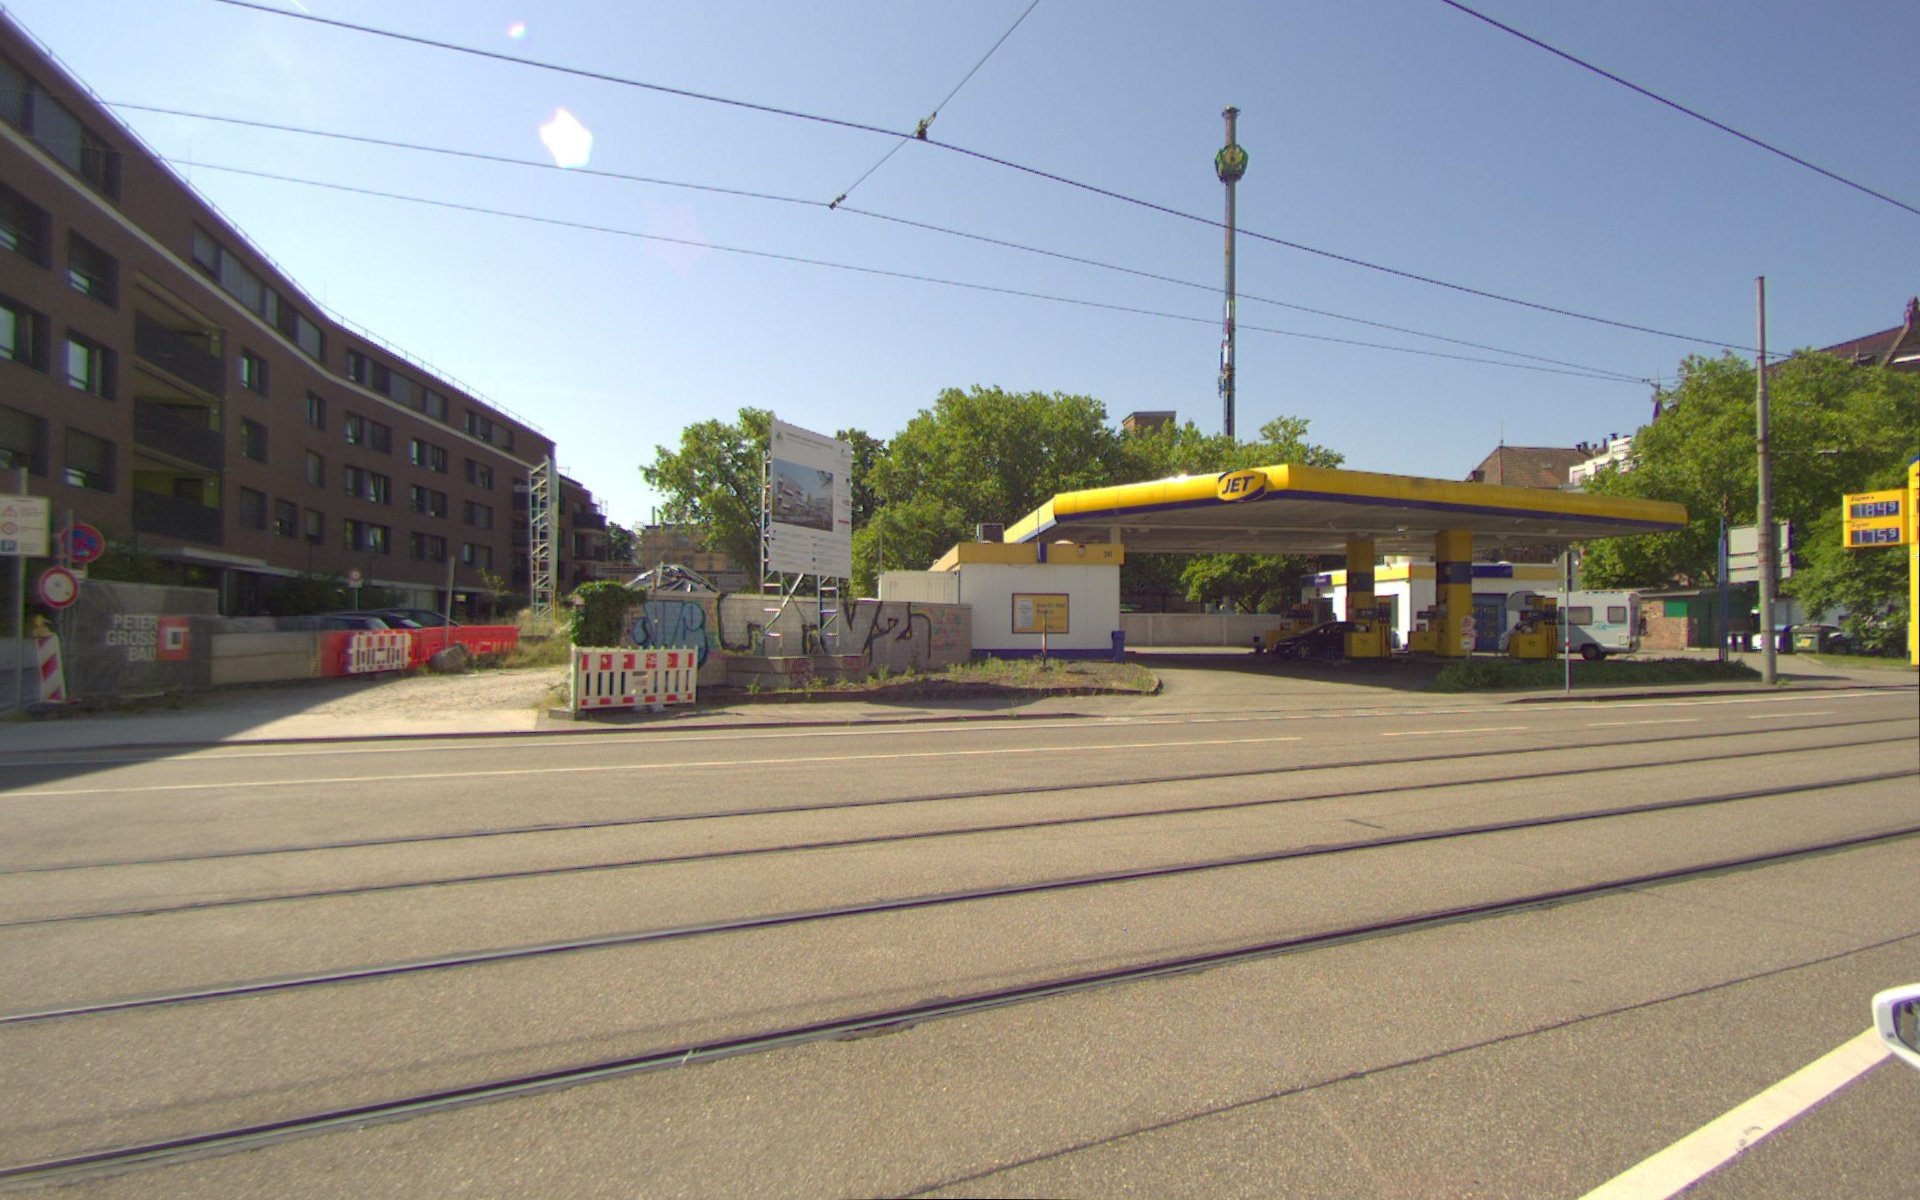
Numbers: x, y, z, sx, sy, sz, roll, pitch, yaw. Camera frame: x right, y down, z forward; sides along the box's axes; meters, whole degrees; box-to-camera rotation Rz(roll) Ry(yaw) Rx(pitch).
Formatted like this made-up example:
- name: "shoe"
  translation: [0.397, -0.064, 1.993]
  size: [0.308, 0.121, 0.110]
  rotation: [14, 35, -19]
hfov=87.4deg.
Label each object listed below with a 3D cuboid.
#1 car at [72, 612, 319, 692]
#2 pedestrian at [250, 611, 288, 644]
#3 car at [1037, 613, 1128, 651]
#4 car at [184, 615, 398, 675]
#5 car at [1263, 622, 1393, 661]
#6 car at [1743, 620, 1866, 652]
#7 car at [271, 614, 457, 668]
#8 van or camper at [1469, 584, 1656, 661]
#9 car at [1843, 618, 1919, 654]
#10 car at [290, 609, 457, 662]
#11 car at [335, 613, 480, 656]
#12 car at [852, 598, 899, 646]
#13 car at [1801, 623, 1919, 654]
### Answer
- name: "car"
  translation: [-15.957, 1.017, 21.256]
  size: [1.765, 1.442, 4.002]
  rotation: [1, 0, 10]
- name: "pedestrian"
  translation: [-28.825, 1.145, 41.920]
  size: [1.000, 1.318, 1.118]
  rotation: [1, -1, -18]
- name: "car"
  translation: [6.355, 1.648, 52.300]
  size: [4.390, 1.786, 1.777]
  rotation: [2, 0, -6]
- name: "car"
  translation: [-16.518, 1.107, 25.000]
  size: [3.982, 1.384, 1.866]
  rotation: [1, -1, -9]
- name: "car"
  translation: [13.859, 1.549, 37.962]
  size: [4.307, 1.320, 1.701]
  rotation: [1, 0, -5]
- name: "car"
  translation: [43.934, 1.867, 52.343]
  size: [4.486, 1.604, 1.950]
  rotation: [0, -1, 15]
- name: "car"
  translation: [-16.434, 1.118, 27.852]
  size: [3.978, 1.384, 1.868]
  rotation: [1, -1, -3]
- name: "van or camper"
  translation: [26.597, 0.889, 44.544]
  size: [6.620, 3.007, 2.601]
  rotation: [3, 2, 44]
- name: "car"
  translation: [44.340, 1.684, 46.730]
  size: [4.486, 1.646, 1.951]
  rotation: [0, -1, 15]
- name: "car"
  translation: [-17.833, 1.085, 30.730]
  size: [3.986, 1.552, 1.814]
  rotation: [1, -1, -12]
- name: "car"
  translation: [-19.051, 1.188, 34.784]
  size: [3.984, 1.402, 1.800]
  rotation: [1, -1, -11]
- name: "car"
  translation: [-4.519, 1.164, 53.157]
  size: [2.285, 2.358, 5.655]
  rotation: [1, -1, -7]
- name: "car"
  translation: [44.490, 1.880, 49.290]
  size: [4.486, 1.487, 1.951]
  rotation: [0, -1, 15]
